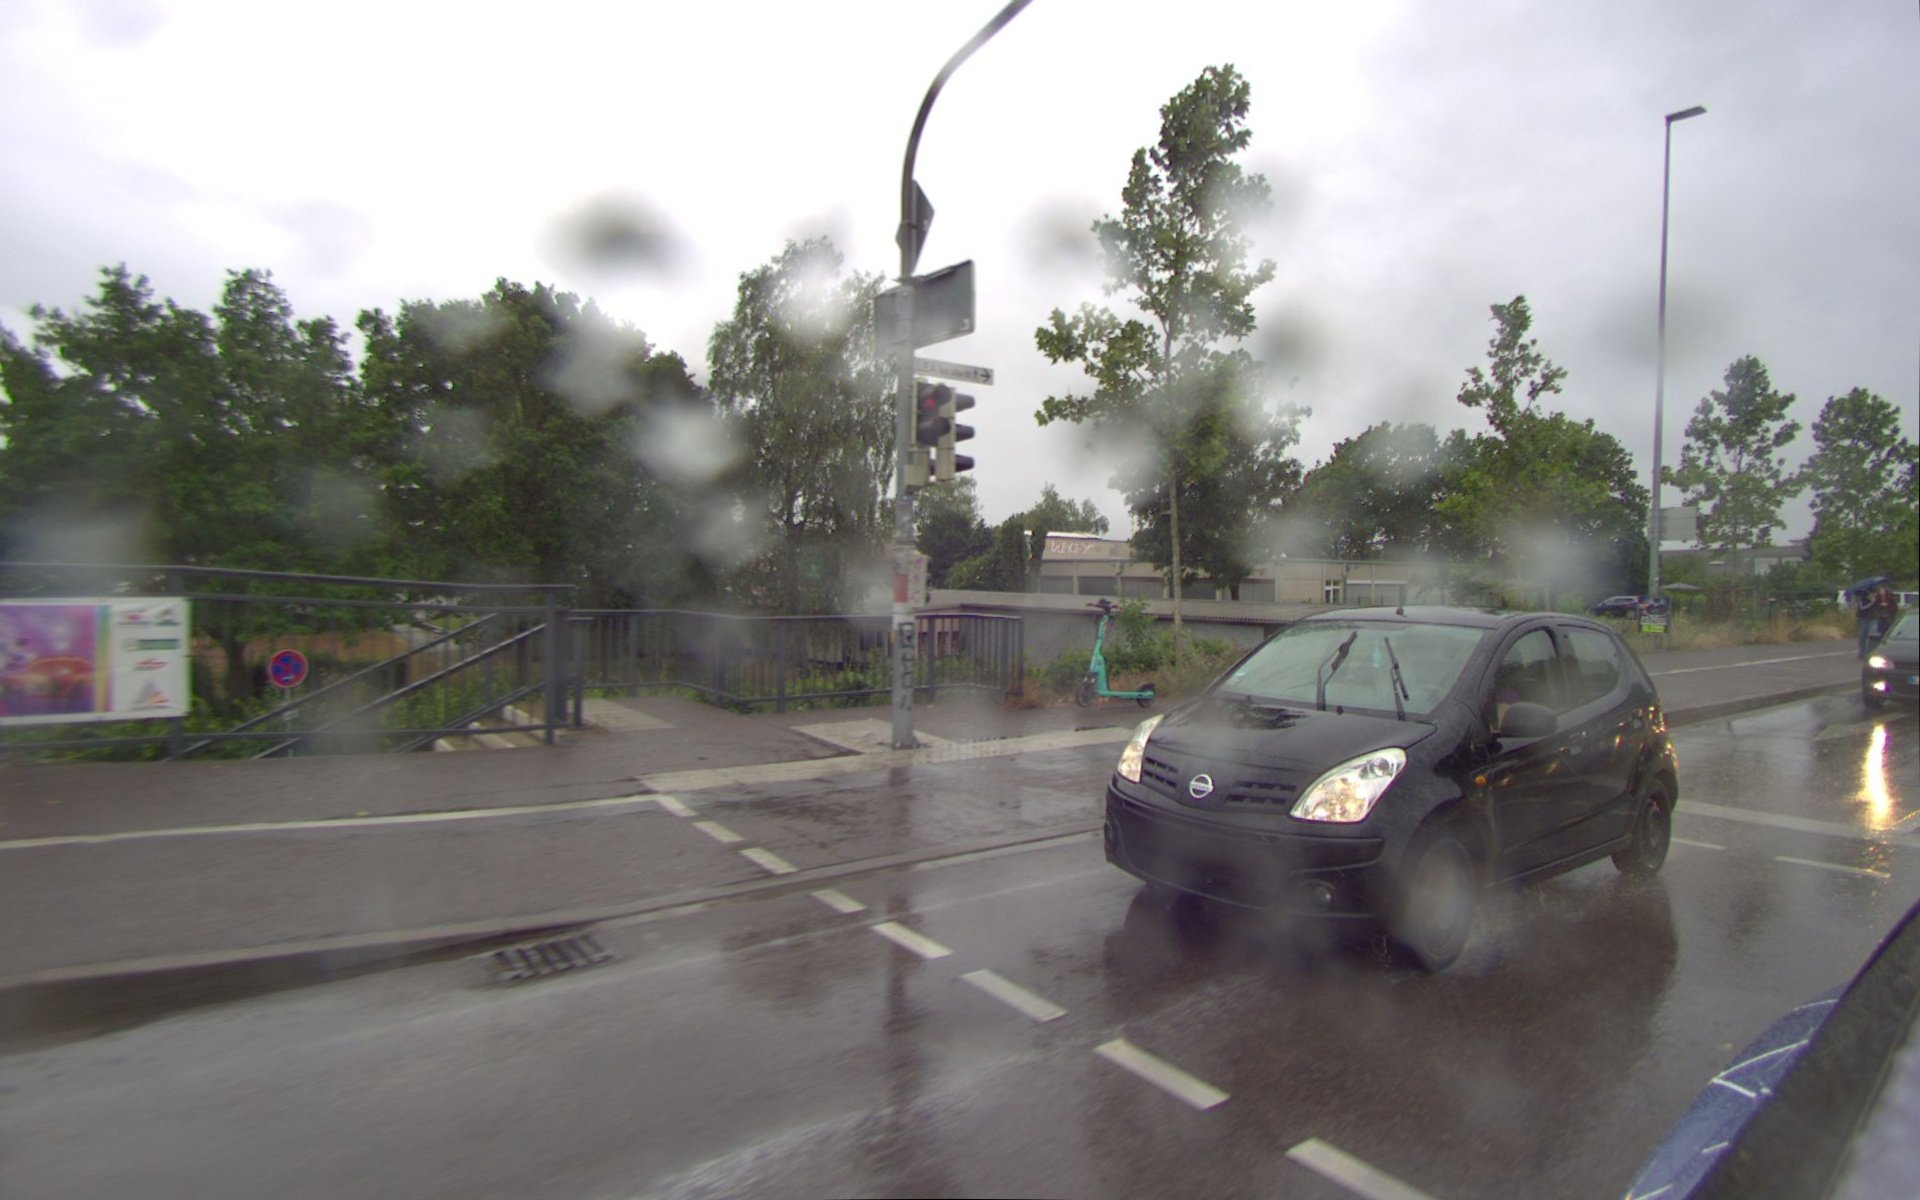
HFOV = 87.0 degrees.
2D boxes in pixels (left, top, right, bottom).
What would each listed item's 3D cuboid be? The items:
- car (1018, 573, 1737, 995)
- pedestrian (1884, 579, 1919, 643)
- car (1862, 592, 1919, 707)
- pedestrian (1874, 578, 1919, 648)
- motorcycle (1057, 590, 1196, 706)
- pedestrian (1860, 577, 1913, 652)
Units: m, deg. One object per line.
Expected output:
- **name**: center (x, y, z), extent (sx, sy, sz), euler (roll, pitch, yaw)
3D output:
- **car**: center (2.430, 0.683, 5.476), extent (4.015, 1.480, 1.777), euler (1, -1, -36)
- **pedestrian**: center (24.888, 0.287, 26.596), extent (0.638, 1.631, 0.734), euler (0, 2, -37)
- **car**: center (14.283, 0.685, 14.196), extent (3.968, 1.504, 1.716), euler (1, -1, -37)
- **pedestrian**: center (22.264, 0.293, 24.007), extent (0.566, 1.631, 0.734), euler (0, 2, -37)
- **motorcycle**: center (1.906, 0.533, 11.593), extent (1.418, 1.233, 0.635), euler (1, 1, -25)
- **pedestrian**: center (20.735, 0.317, 22.646), extent (0.606, 1.631, 0.734), euler (0, 2, -37)
